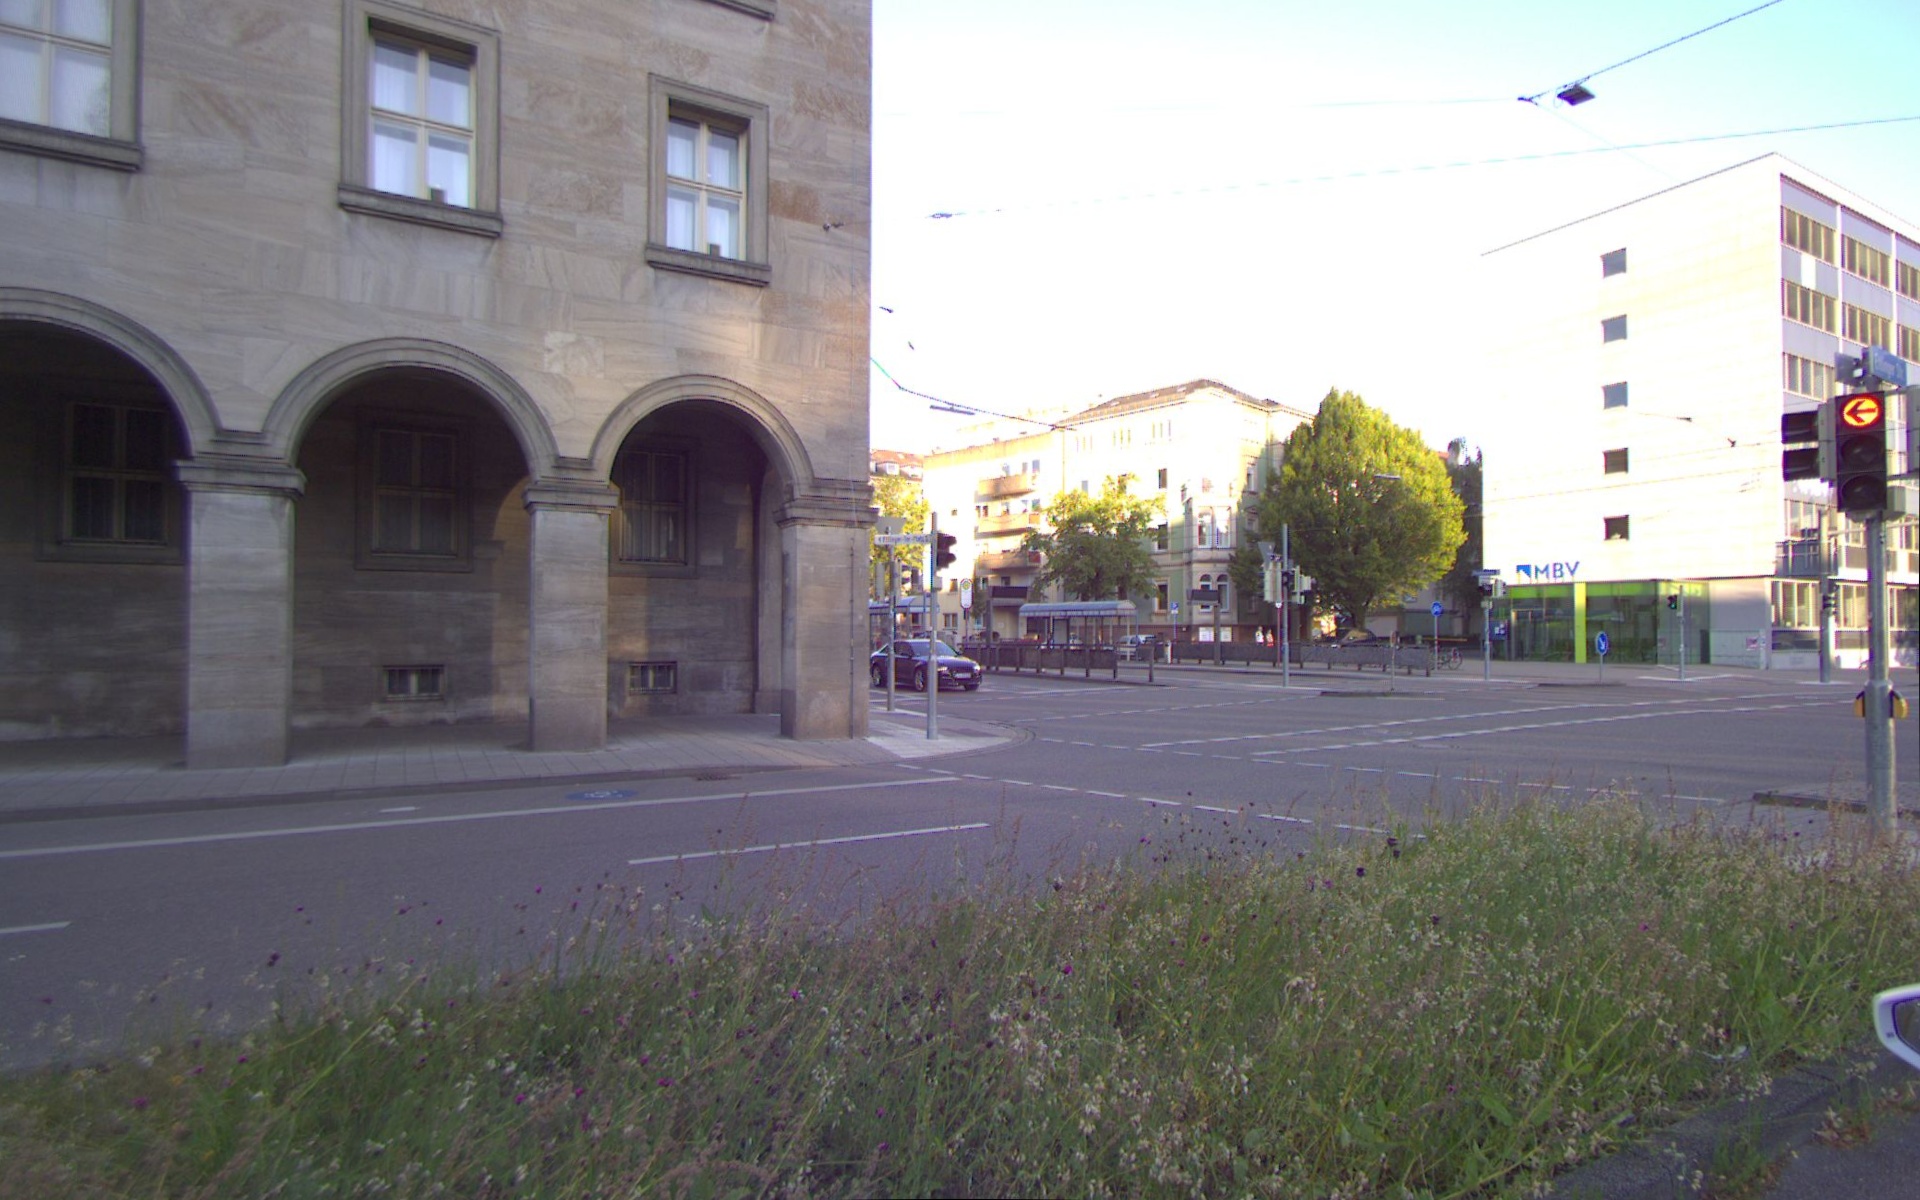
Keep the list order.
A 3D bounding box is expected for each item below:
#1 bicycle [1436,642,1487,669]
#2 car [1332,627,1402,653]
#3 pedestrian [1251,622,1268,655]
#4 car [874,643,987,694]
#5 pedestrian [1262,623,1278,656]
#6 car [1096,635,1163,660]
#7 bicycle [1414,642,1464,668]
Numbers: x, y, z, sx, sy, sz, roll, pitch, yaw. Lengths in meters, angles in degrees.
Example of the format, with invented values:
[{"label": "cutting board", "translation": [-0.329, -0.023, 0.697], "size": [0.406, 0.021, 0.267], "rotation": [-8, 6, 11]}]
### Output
[{"label": "bicycle", "translation": [21.664, 2.403, 43.361], "size": [2.183, 1.127, 0.834], "rotation": [1, -2, -26]}, {"label": "car", "translation": [22.270, 2.182, 54.900], "size": [3.553, 1.390, 1.826], "rotation": [1, -2, -32]}, {"label": "pedestrian", "translation": [16.819, 2.164, 56.413], "size": [0.718, 1.813, 0.634], "rotation": [2, -2, -44]}, {"label": "car", "translation": [-0.956, 1.973, 29.767], "size": [1.791, 1.344, 4.120], "rotation": [1, -2, -27]}, {"label": "pedestrian", "translation": [17.521, 2.237, 56.757], "size": [0.718, 1.813, 0.634], "rotation": [2, -2, -43]}, {"label": "car", "translation": [9.988, 2.774, 59.234], "size": [3.545, 1.390, 1.830], "rotation": [-2, -3, 45]}, {"label": "bicycle", "translation": [21.215, 2.408, 44.496], "size": [2.183, 1.127, 0.834], "rotation": [1, -2, -26]}]
